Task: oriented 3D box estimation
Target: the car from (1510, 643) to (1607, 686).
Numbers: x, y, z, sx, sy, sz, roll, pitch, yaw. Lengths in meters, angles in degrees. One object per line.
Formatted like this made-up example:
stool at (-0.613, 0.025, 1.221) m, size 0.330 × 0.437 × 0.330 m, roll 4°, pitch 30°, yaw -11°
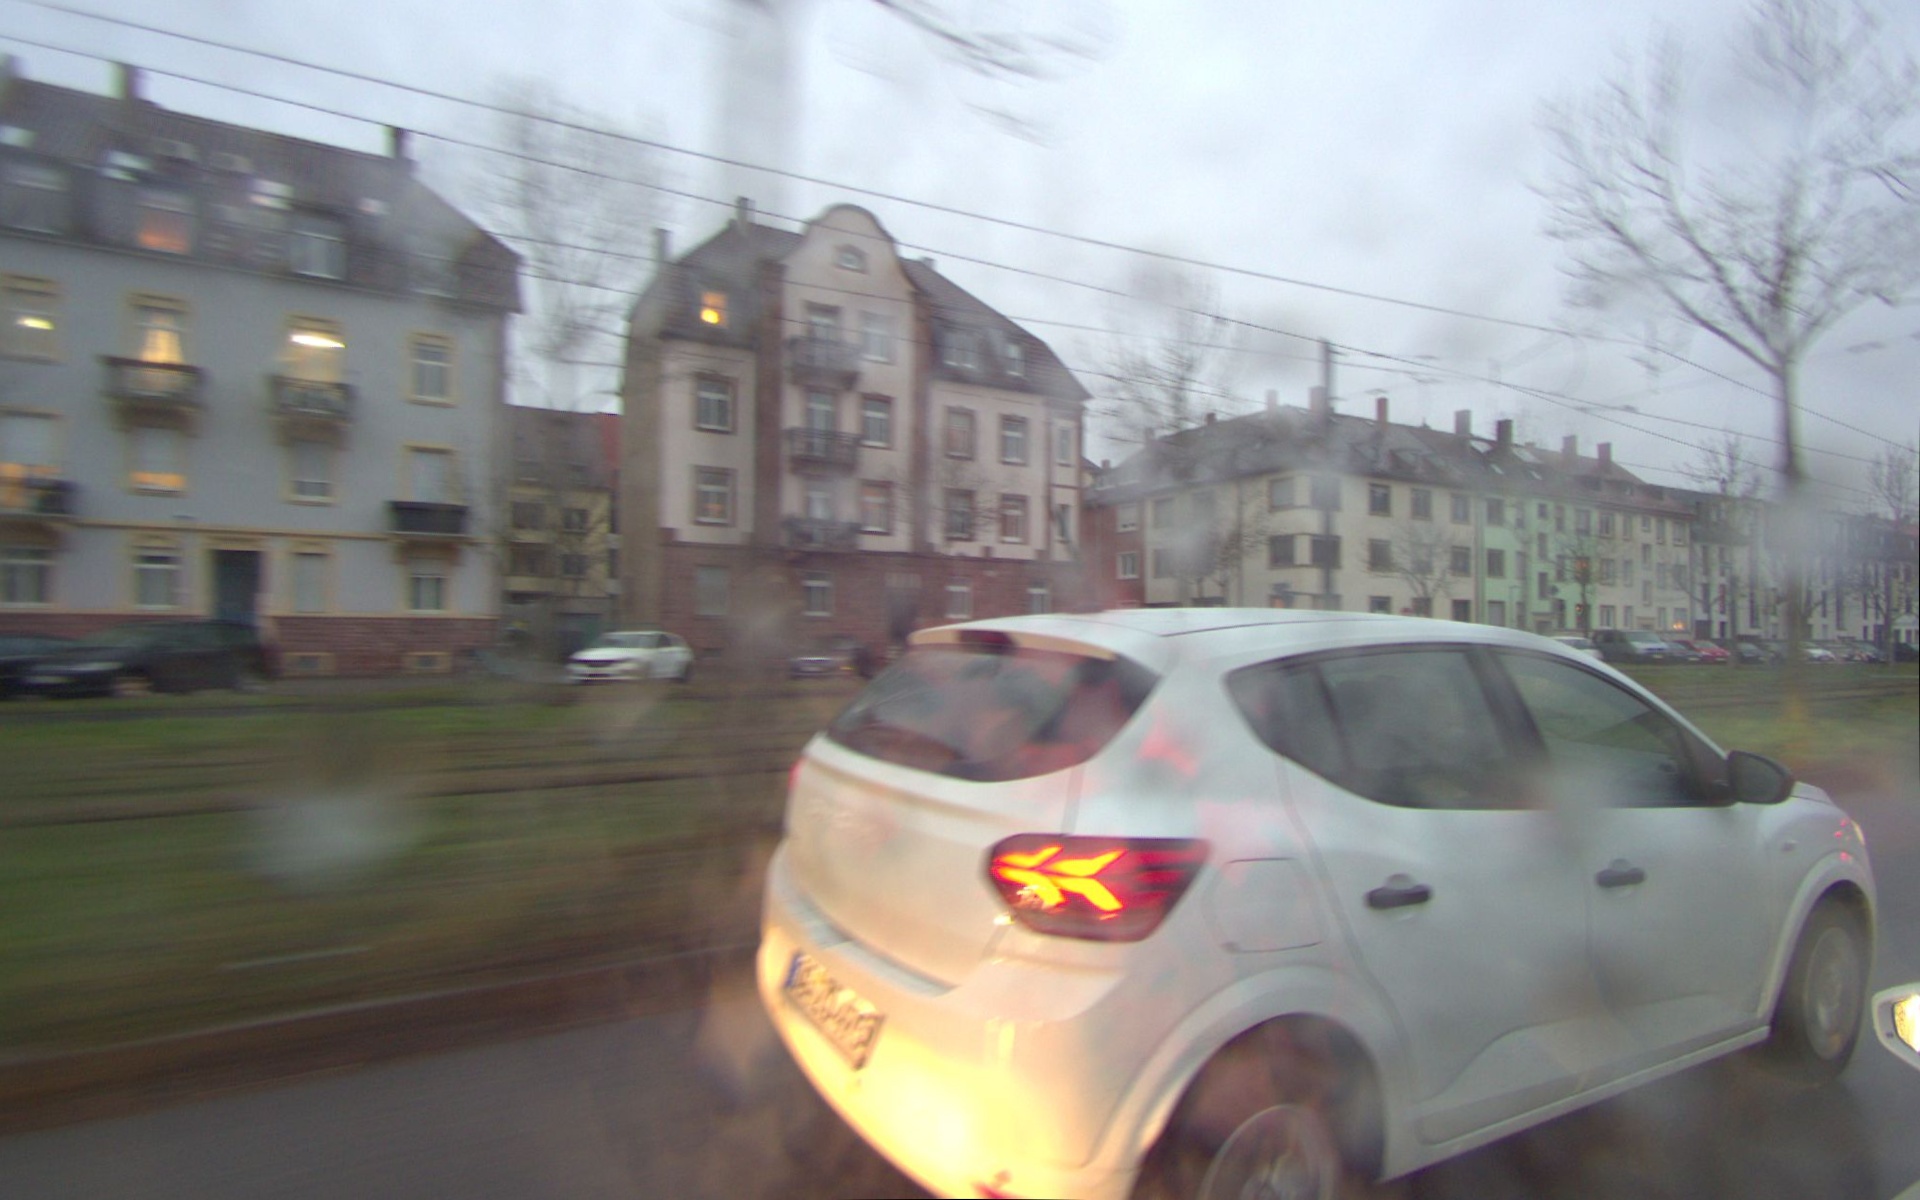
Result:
car at (23.047, 2.447, 38.657) m, size 3.738 × 1.524 × 1.539 m, roll 2°, pitch 0°, yaw -30°

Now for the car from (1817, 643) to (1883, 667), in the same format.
car at (57.488, 3.525, 64.922) m, size 1.703 × 1.354 × 2.938 m, roll 1°, pitch 0°, yaw 3°

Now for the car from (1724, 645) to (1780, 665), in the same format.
car at (45.985, 3.180, 58.370) m, size 1.408 × 1.062 × 2.393 m, roll 0°, pitch 0°, yaw 3°

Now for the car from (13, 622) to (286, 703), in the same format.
car at (-16.933, 1.233, 21.353) m, size 1.660 × 1.451 × 4.667 m, roll 1°, pitch -1°, yaw 7°

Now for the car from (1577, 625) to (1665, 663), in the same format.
car at (34.482, 2.260, 52.545) m, size 1.796 × 1.746 × 4.661 m, roll 1°, pitch 0°, yaw 4°

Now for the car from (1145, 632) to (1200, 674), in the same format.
car at (7.627, 1.874, 36.325) m, size 1.677 × 1.176 × 4.107 m, roll 3°, pitch 1°, yaw 9°

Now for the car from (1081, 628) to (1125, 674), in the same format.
car at (4.863, 1.702, 34.414) m, size 1.321 × 1.247 × 4.046 m, roll 3°, pitch 1°, yaw 6°

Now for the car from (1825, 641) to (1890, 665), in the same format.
car at (59.682, 3.497, 66.878) m, size 1.636 × 1.440 × 3.387 m, roll 1°, pitch -1°, yaw 9°

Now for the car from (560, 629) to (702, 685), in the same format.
car at (-8.757, 1.485, 27.171) m, size 1.796 × 1.274 × 4.269 m, roll 1°, pitch -1°, yaw 11°

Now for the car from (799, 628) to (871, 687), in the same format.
car at (-3.536, 1.617, 28.899) m, size 1.842 × 1.437 × 3.361 m, roll 3°, pitch -1°, yaw -4°

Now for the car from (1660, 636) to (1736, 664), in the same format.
car at (40.573, 2.710, 55.286) m, size 1.653 × 1.326 × 3.582 m, roll 1°, pitch 0°, yaw 3°

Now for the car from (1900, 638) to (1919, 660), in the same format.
car at (72.624, 3.684, 75.020) m, size 1.707 × 1.610 × 3.852 m, roll 1°, pitch -1°, yaw 11°

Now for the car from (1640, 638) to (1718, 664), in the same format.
car at (38.504, 2.716, 53.904) m, size 1.702 × 1.156 × 3.573 m, roll 1°, pitch 0°, yaw 3°

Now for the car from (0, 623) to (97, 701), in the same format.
car at (-19.929, 1.256, 19.975) m, size 1.783 × 1.467 × 3.954 m, roll 1°, pitch 0°, yaw 10°

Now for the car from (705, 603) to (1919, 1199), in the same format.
car at (1.370, 0.809, 3.276) m, size 3.954 × 1.494 × 1.680 m, roll 2°, pitch 0°, yaw -31°

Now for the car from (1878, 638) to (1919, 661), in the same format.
car at (67.941, 3.539, 71.533) m, size 1.636 × 1.561 × 4.165 m, roll 1°, pitch -1°, yaw 6°

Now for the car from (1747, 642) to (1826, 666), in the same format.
car at (49.194, 3.220, 59.879) m, size 1.703 × 1.188 × 3.822 m, roll 1°, pitch 0°, yaw 3°

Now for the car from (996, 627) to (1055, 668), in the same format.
car at (2.129, 1.490, 32.077) m, size 1.759 × 1.003 × 2.920 m, roll 3°, pitch 1°, yaw 5°

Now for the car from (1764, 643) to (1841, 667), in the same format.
car at (51.380, 3.347, 61.351) m, size 1.702 × 1.262 × 3.846 m, roll 1°, pitch 0°, yaw 6°
